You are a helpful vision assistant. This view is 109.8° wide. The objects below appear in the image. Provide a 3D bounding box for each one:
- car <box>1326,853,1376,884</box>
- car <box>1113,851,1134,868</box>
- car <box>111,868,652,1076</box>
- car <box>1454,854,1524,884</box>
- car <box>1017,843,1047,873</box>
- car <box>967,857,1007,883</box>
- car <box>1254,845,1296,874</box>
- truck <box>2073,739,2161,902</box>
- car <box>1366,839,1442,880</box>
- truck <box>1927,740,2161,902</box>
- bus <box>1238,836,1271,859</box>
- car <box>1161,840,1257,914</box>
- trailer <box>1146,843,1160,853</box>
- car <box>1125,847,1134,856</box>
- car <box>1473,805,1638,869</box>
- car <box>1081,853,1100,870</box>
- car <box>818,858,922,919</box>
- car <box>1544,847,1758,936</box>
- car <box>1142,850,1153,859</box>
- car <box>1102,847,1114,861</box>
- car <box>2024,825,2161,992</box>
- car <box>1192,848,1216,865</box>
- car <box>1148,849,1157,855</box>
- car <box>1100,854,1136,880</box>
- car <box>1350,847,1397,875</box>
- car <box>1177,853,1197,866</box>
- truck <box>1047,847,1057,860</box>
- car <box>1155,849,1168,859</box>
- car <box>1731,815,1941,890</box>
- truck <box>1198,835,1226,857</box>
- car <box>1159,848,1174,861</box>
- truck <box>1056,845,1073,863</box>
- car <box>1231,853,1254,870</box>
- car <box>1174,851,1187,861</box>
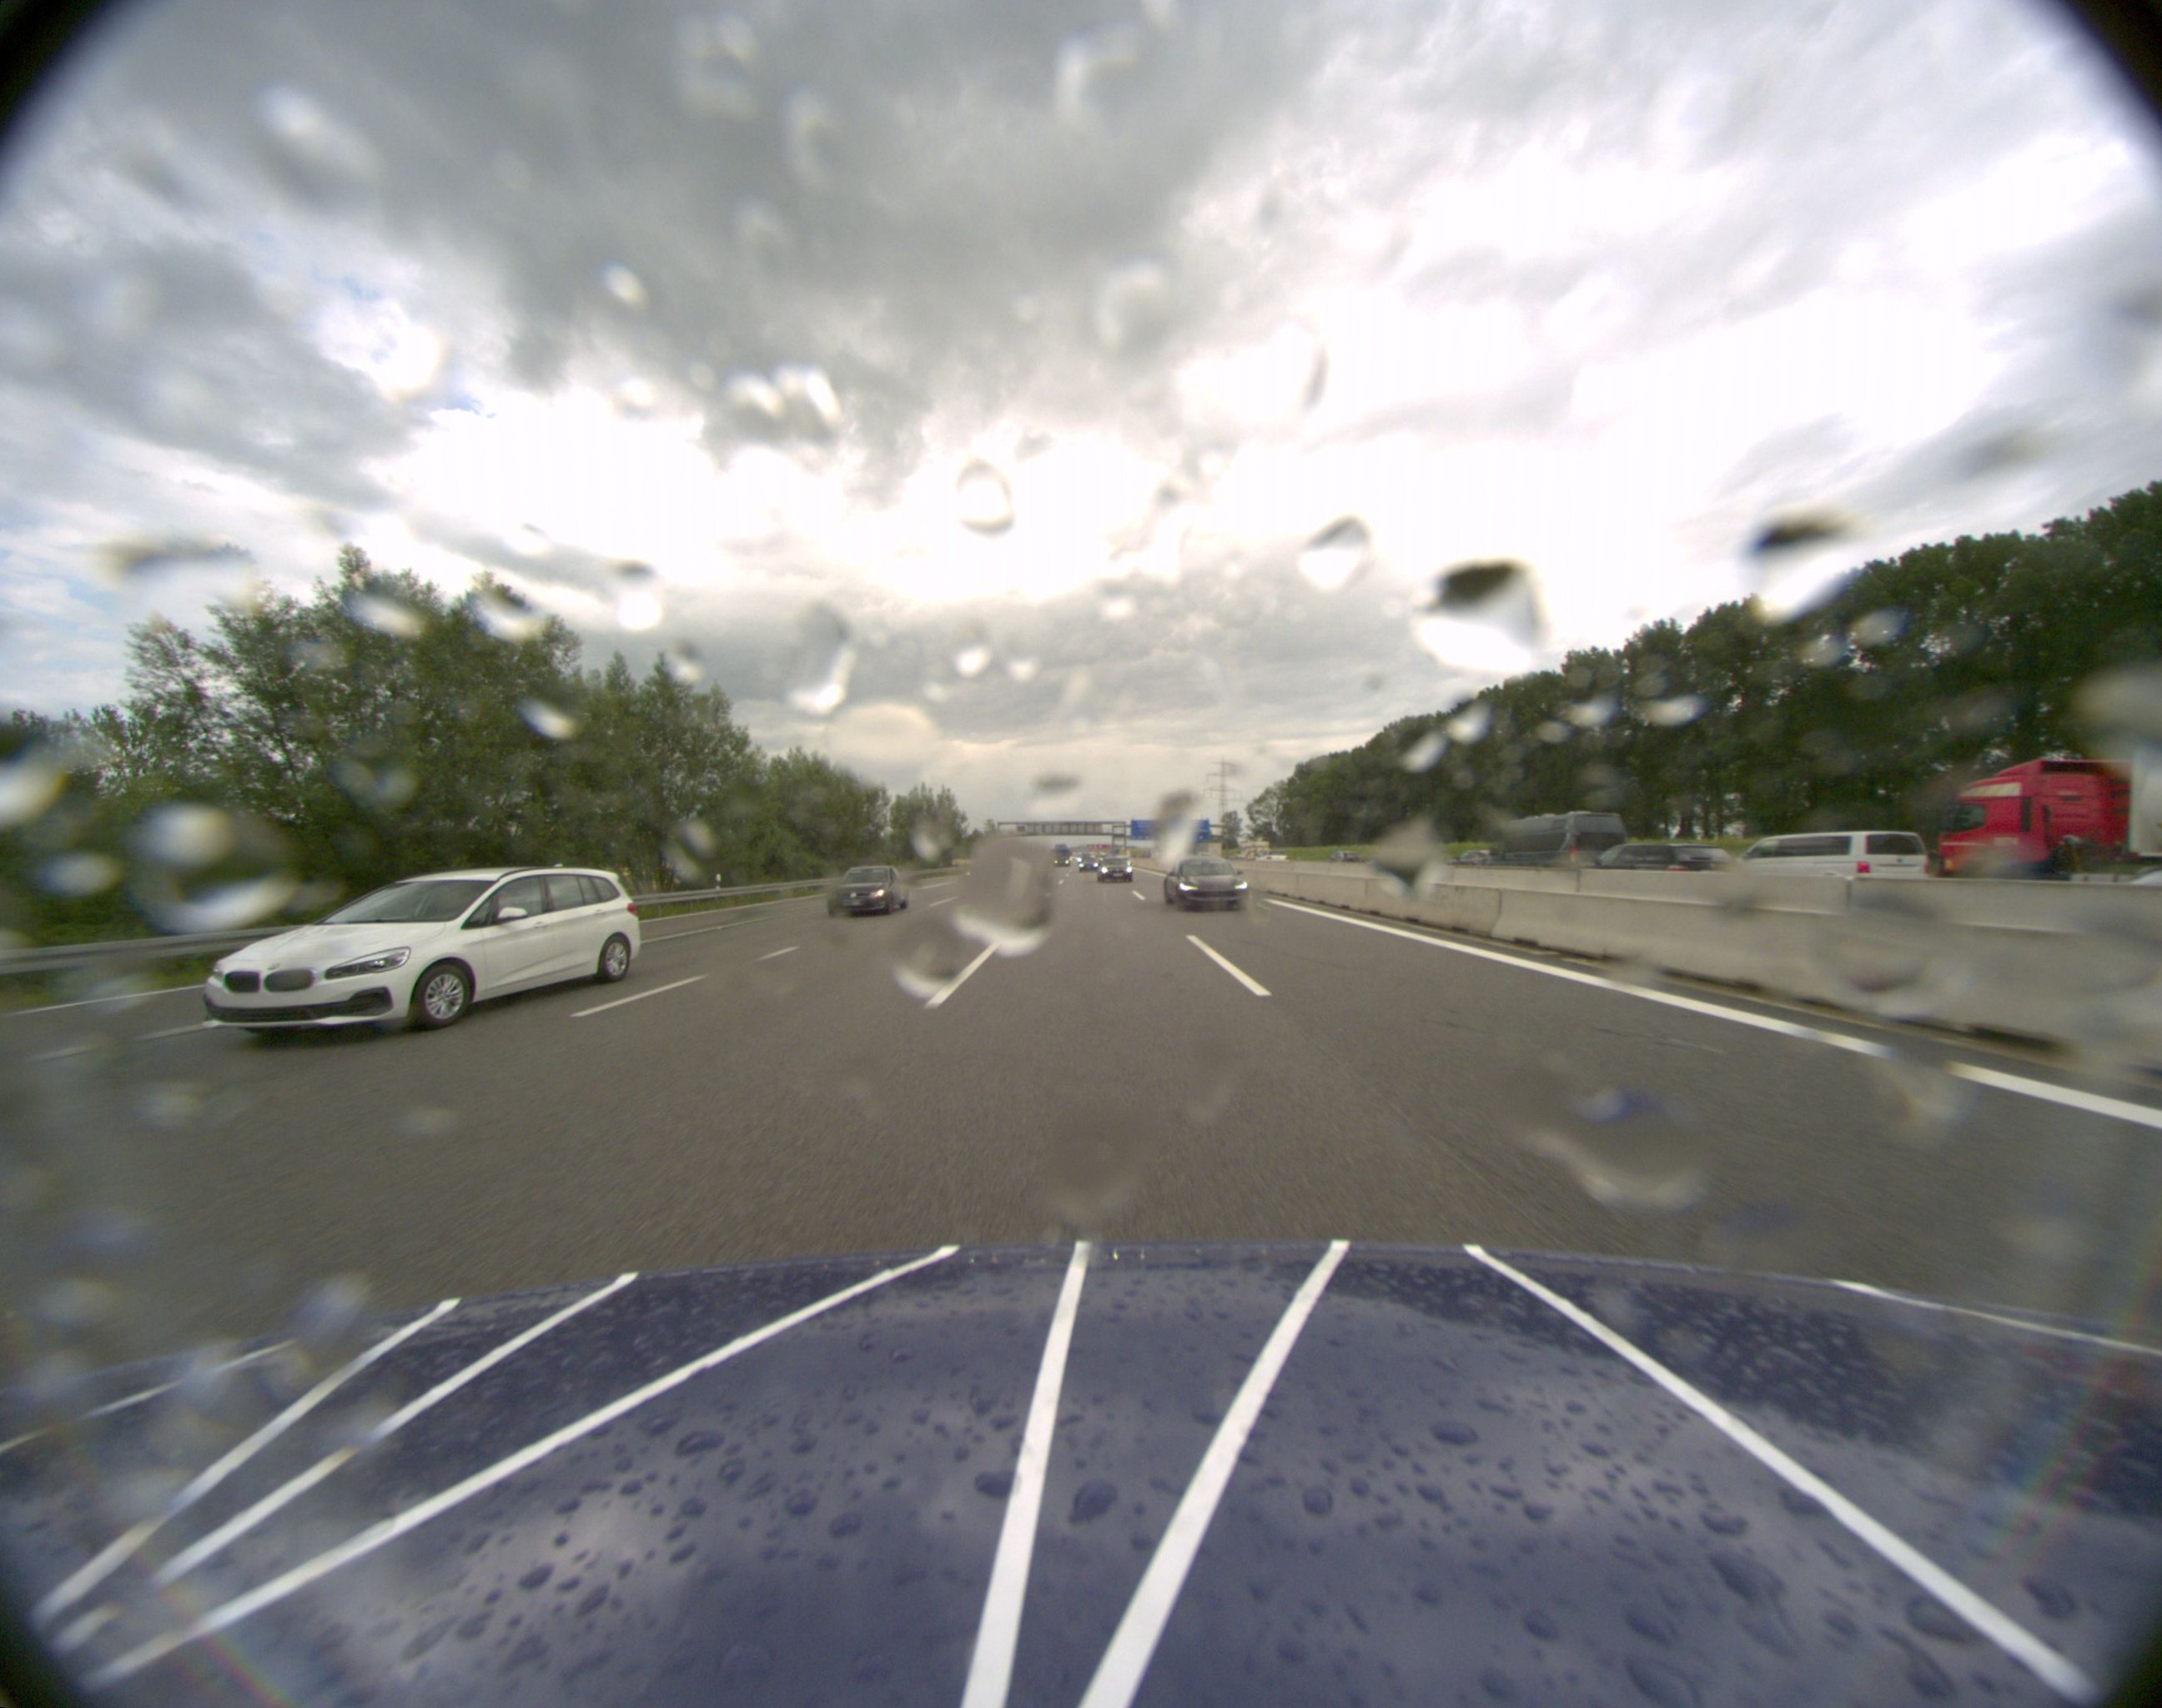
[{"bbox_3d":[18.780,0.941,52.993,1.998,2.002,4.227,-2,0,1],"label":"car"},{"bbox_3d":[4.114,0.526,74.345,1.822,1.565,4.000,-2,0,0],"label":"car"},{"bbox_3d":[-7.206,1.040,8.737,1.815,1.589,4.695,-2,0,0],"label":"car"},{"bbox_3d":[21.983,0.775,41.140,1.620,1.513,4.000,-2,0,0],"label":"car"},{"bbox_3d":[-4.301,0.343,67.540,2.145,2.486,5.448,-2,0,2],"label":"car"},{"bbox_3d":[-5.944,0.978,48.585,1.945,1.482,4.775,-2,0,-1],"label":"car"},{"bbox_3d":[14.450,0.404,56.856,1.998,2.002,4.264,-2,0,0],"label":"car"},{"bbox_3d":[26.158,-0.795,12.207,3.156,3.723,13.298,-2,0,1],"label":"truck"},{"bbox_3d":[14.577,0.230,34.545,1.808,1.709,4.000,-2,0,1],"label":"car"},{"bbox_3d":[26.241,-0.793,18.993,3.158,3.690,6.318,-2,0,1],"label":"truck"},{"bbox_3d":[26.344,-0.955,115.914,2.838,3.313,9.963,-2,0,1],"label":"bus"},{"bbox_3d":[3.502,0.566,21.765,1.998,1.810,5.163,-2,0,2],"label":"car"},{"bbox_3d":[25.498,-2.183,269.074,3.118,3.487,14.450,-2,0,-1],"label":"trailer"},{"bbox_3d":[14.735,-0.724,229.894,1.999,2.600,6.342,-2,0,-1],"label":"car"},{"bbox_3d":[18.139,-0.604,29.657,2.265,2.152,6.817,-2,0,1],"label":"car"},{"bbox_3d":[0.973,0.695,74.861,1.711,1.562,4.347,-2,0,3],"label":"car"},{"bbox_3d":[-6.314,0.973,23.303,1.711,1.621,4.457,-2,0,3],"label":"car"},{"bbox_3d":[14.296,0.839,19.483,1.998,1.956,4.696,-2,0,1],"label":"car"},{"bbox_3d":[14.582,0.093,167.323,1.999,1.886,5.186,-2,0,0],"label":"car"},{"bbox_3d":[5.180,-0.003,146.179,2.145,2.486,5.448,-2,0,3],"label":"car"},{"bbox_3d":[13.741,0.625,7.927,1.998,1.956,4.696,-2,0,1],"label":"car"},{"bbox_3d":[15.025,0.314,93.000,1.999,2.002,5.181,-2,0,-1],"label":"car"},{"bbox_3d":[19.529,-0.527,206.919,1.890,1.610,3.999,-2,0,-1],"label":"car"},{"bbox_3d":[2.118,0.737,43.950,1.922,1.407,4.001,-1,0,2],"label":"car"},{"bbox_3d":[22.484,0.499,58.489,1.998,2.002,4.227,-2,0,1],"label":"car"},{"bbox_3d":[14.801,0.750,106.471,1.999,1.844,4.635,-2,0,-2],"label":"car"},{"bbox_3d":[-6.207,-0.027,161.774,1.790,2.660,5.768,-2,0,0],"label":"truck"},{"bbox_3d":[15.531,0.021,146.812,1.998,1.842,5.077,-1,0,0],"label":"car"},{"bbox_3d":[21.812,-0.054,22.237,1.998,1.936,4.212,-2,0,1],"label":"car"},{"bbox_3d":[26.736,-1.587,155.973,3.156,4.288,13.950,-2,0,0],"label":"truck"},{"bbox_3d":[14.440,0.036,128.058,1.998,2.002,4.763,-2,0,0],"label":"car"},{"bbox_3d":[-2.598,0.030,118.759,2.391,2.726,6.592,-2,0,-2],"label":"truck"},{"bbox_3d":[19.402,0.906,91.637,1.809,2.002,3.999,-2,0,-1],"label":"car"},{"bbox_3d":[20.120,0.397,154.015,1.999,1.922,4.638,-2,0,0],"label":"car"}]
